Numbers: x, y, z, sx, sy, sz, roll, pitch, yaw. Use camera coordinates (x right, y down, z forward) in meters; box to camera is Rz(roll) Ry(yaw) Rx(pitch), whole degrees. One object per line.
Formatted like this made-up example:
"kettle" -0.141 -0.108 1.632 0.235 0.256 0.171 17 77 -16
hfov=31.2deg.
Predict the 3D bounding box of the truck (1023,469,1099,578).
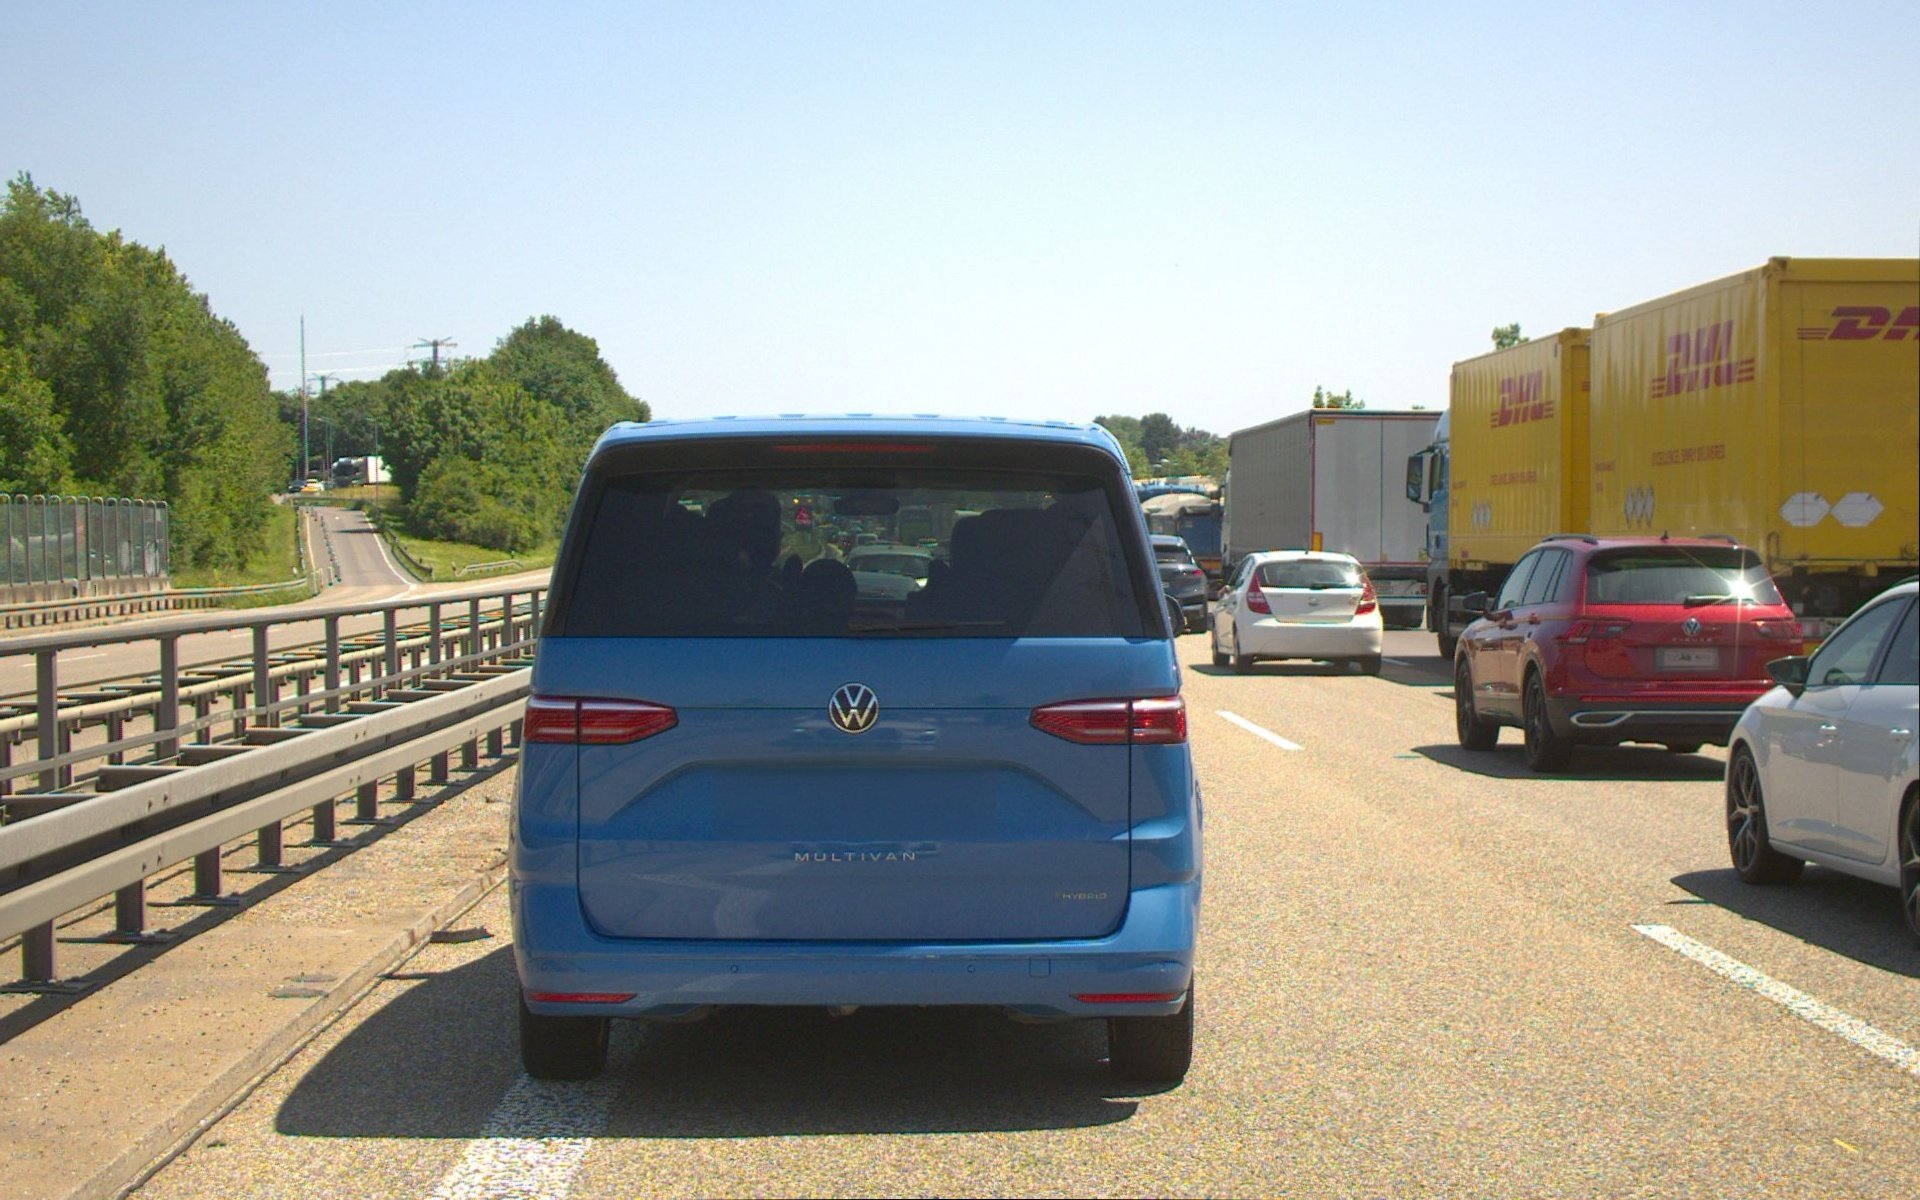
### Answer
"truck" 4.780 -3.581 164.932 2.833 5.023 11.147 1 0 -2

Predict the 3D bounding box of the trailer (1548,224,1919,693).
"trailer" 8.030 -1.234 34.046 2.701 4.010 8.931 1 0 -1

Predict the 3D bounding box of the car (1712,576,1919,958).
"car" 4.423 0.617 13.916 1.781 1.382 4.188 0 1 -1

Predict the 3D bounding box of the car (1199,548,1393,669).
"car" 4.088 0.071 42.369 1.838 1.409 4.000 0 1 -2

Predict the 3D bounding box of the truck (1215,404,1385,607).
"truck" 7.190 -1.948 73.483 2.768 4.081 6.984 1 0 -1

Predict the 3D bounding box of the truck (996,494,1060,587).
"truck" 3.741 -3.263 192.217 2.833 5.023 11.818 1 0 -2

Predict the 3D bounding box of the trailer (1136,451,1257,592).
"trailer" 6.634 -2.147 97.876 2.379 3.731 11.189 1 0 -1

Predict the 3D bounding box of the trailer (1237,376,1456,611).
"trailer" 7.326 -1.923 66.779 2.755 4.132 11.312 1 0 -1

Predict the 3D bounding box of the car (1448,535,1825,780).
"car" 4.730 0.343 24.606 1.851 1.603 4.000 0 1 -1

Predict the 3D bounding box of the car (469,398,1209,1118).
"car" -0.334 0.374 10.752 1.882 1.831 4.000 0 1 -1

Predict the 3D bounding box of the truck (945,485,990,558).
"truck" 0.504 -5.913 262.291 2.833 5.354 12.556 1 0 -2

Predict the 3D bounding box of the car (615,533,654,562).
"car" -18.081 -2.914 191.117 1.780 1.563 4.387 -2 1 -1

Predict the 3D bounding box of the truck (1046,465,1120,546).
"truck" 5.167 -3.945 145.502 2.355 3.207 9.742 1 0 -2

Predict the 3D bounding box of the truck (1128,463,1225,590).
"truck" 6.497 -2.184 103.966 2.367 3.709 6.034 1 0 -1

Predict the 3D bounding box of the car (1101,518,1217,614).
"car" 3.462 -0.613 60.303 1.715 1.581 3.821 -1 1 -1

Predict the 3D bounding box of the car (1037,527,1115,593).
"car" 2.827 -0.991 84.457 1.715 1.535 3.821 -1 1 -1

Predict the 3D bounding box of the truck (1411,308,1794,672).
"truck" 7.880 -1.268 43.695 2.722 4.041 10.337 1 0 -1
